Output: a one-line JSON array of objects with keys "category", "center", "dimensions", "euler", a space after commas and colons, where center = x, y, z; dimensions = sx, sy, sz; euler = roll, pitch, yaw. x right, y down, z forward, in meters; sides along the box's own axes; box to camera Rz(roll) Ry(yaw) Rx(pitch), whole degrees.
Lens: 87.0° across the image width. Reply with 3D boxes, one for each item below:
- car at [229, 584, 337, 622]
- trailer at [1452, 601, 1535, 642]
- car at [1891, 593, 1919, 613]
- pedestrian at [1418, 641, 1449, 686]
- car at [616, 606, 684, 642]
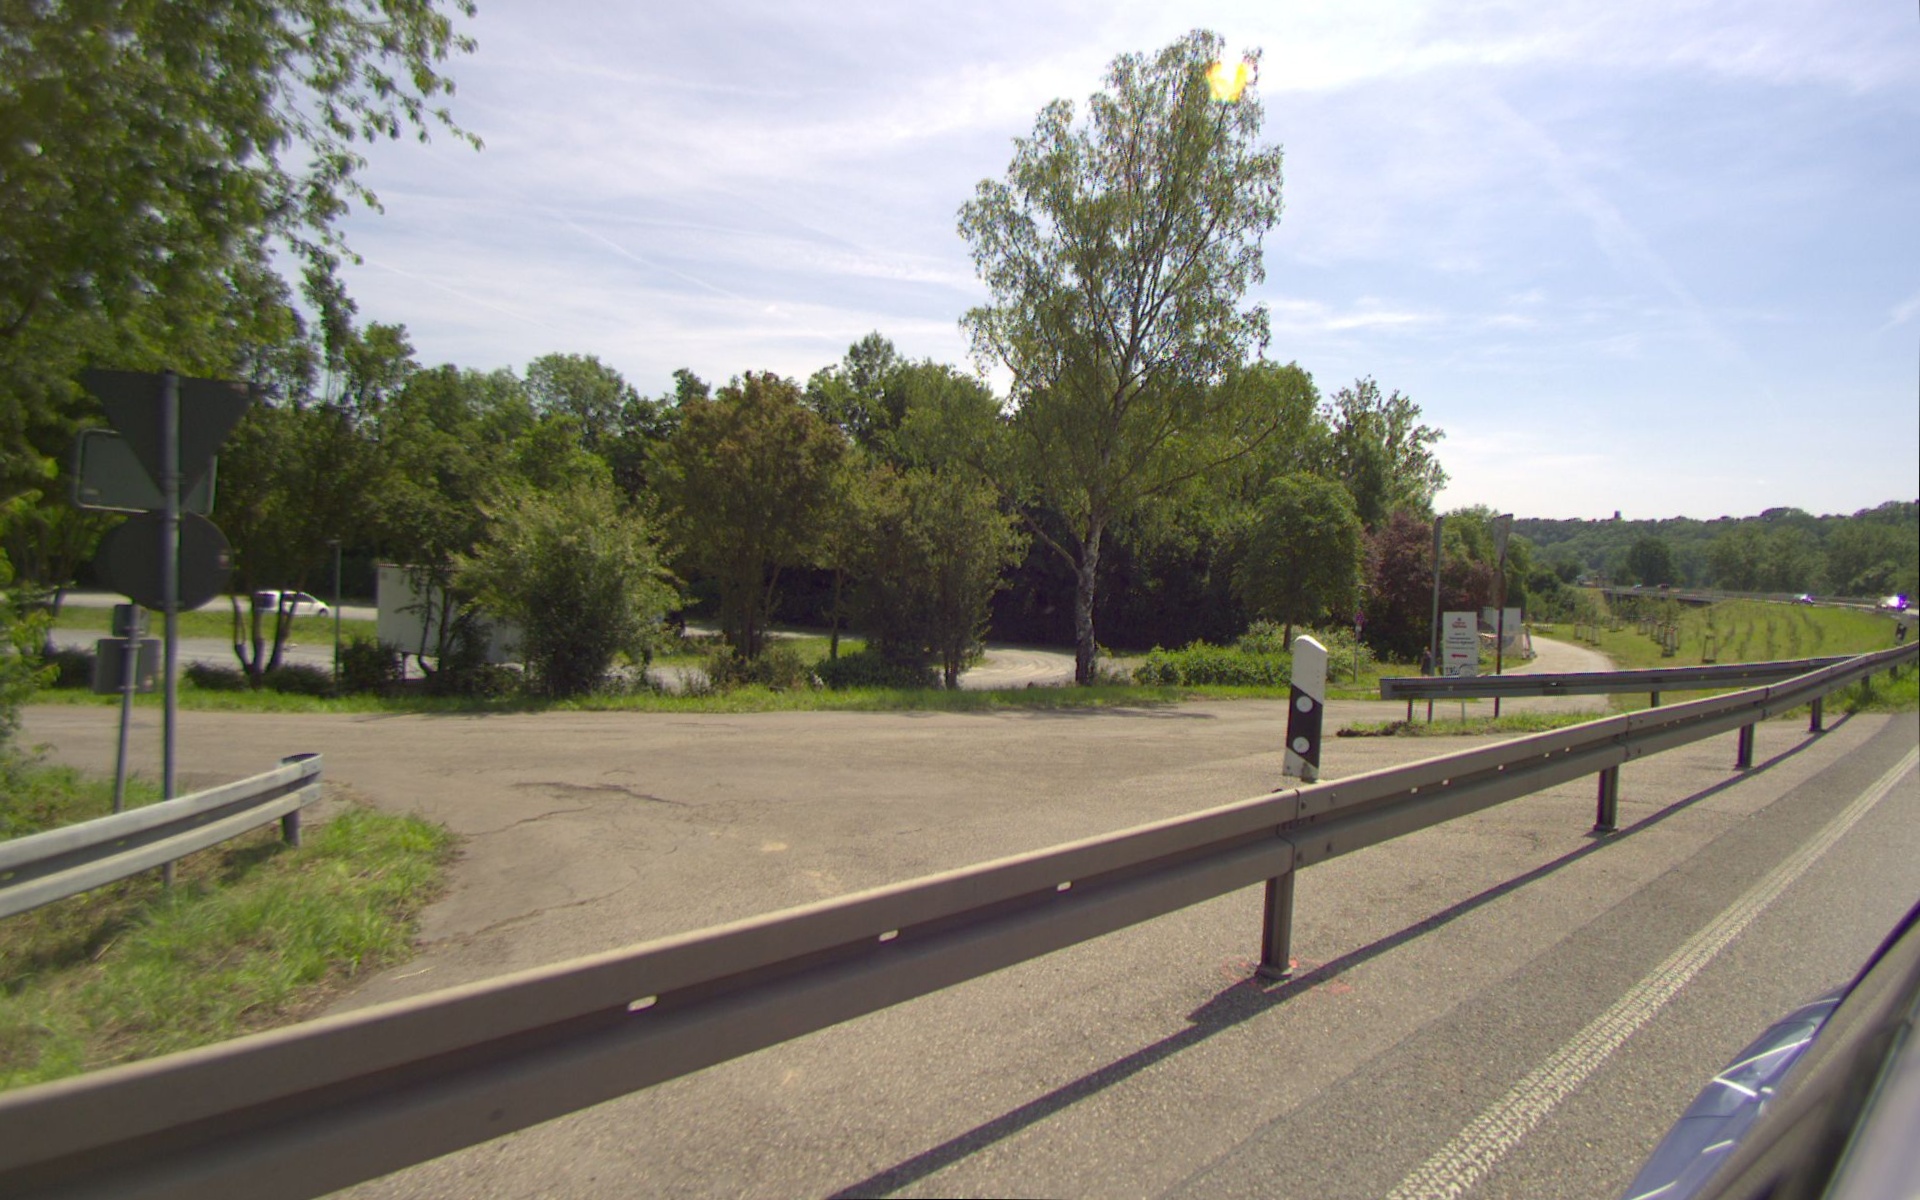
[{"category": "car", "center": [-33.653, 0.103, 50.446], "dimensions": [1.969, 1.679, 4.329], "euler": [3, 1, 12]}, {"category": "trailer", "center": [49.525, 1.906, 94.436], "dimensions": [2.680, 3.369, 11.875], "euler": [0, 1, 6]}, {"category": "car", "center": [89.864, 0.286, 95.945], "dimensions": [1.970, 1.753, 3.948], "euler": [1, 3, 37]}, {"category": "pedestrian", "center": [20.639, 2.748, 44.133], "dimensions": [0.885, 1.833, 0.944], "euler": [4, 2, 43]}, {"category": "car", "center": [-15.054, 1.135, 49.365], "dimensions": [1.667, 1.510, 3.686], "euler": [3, 1, 10]}]
